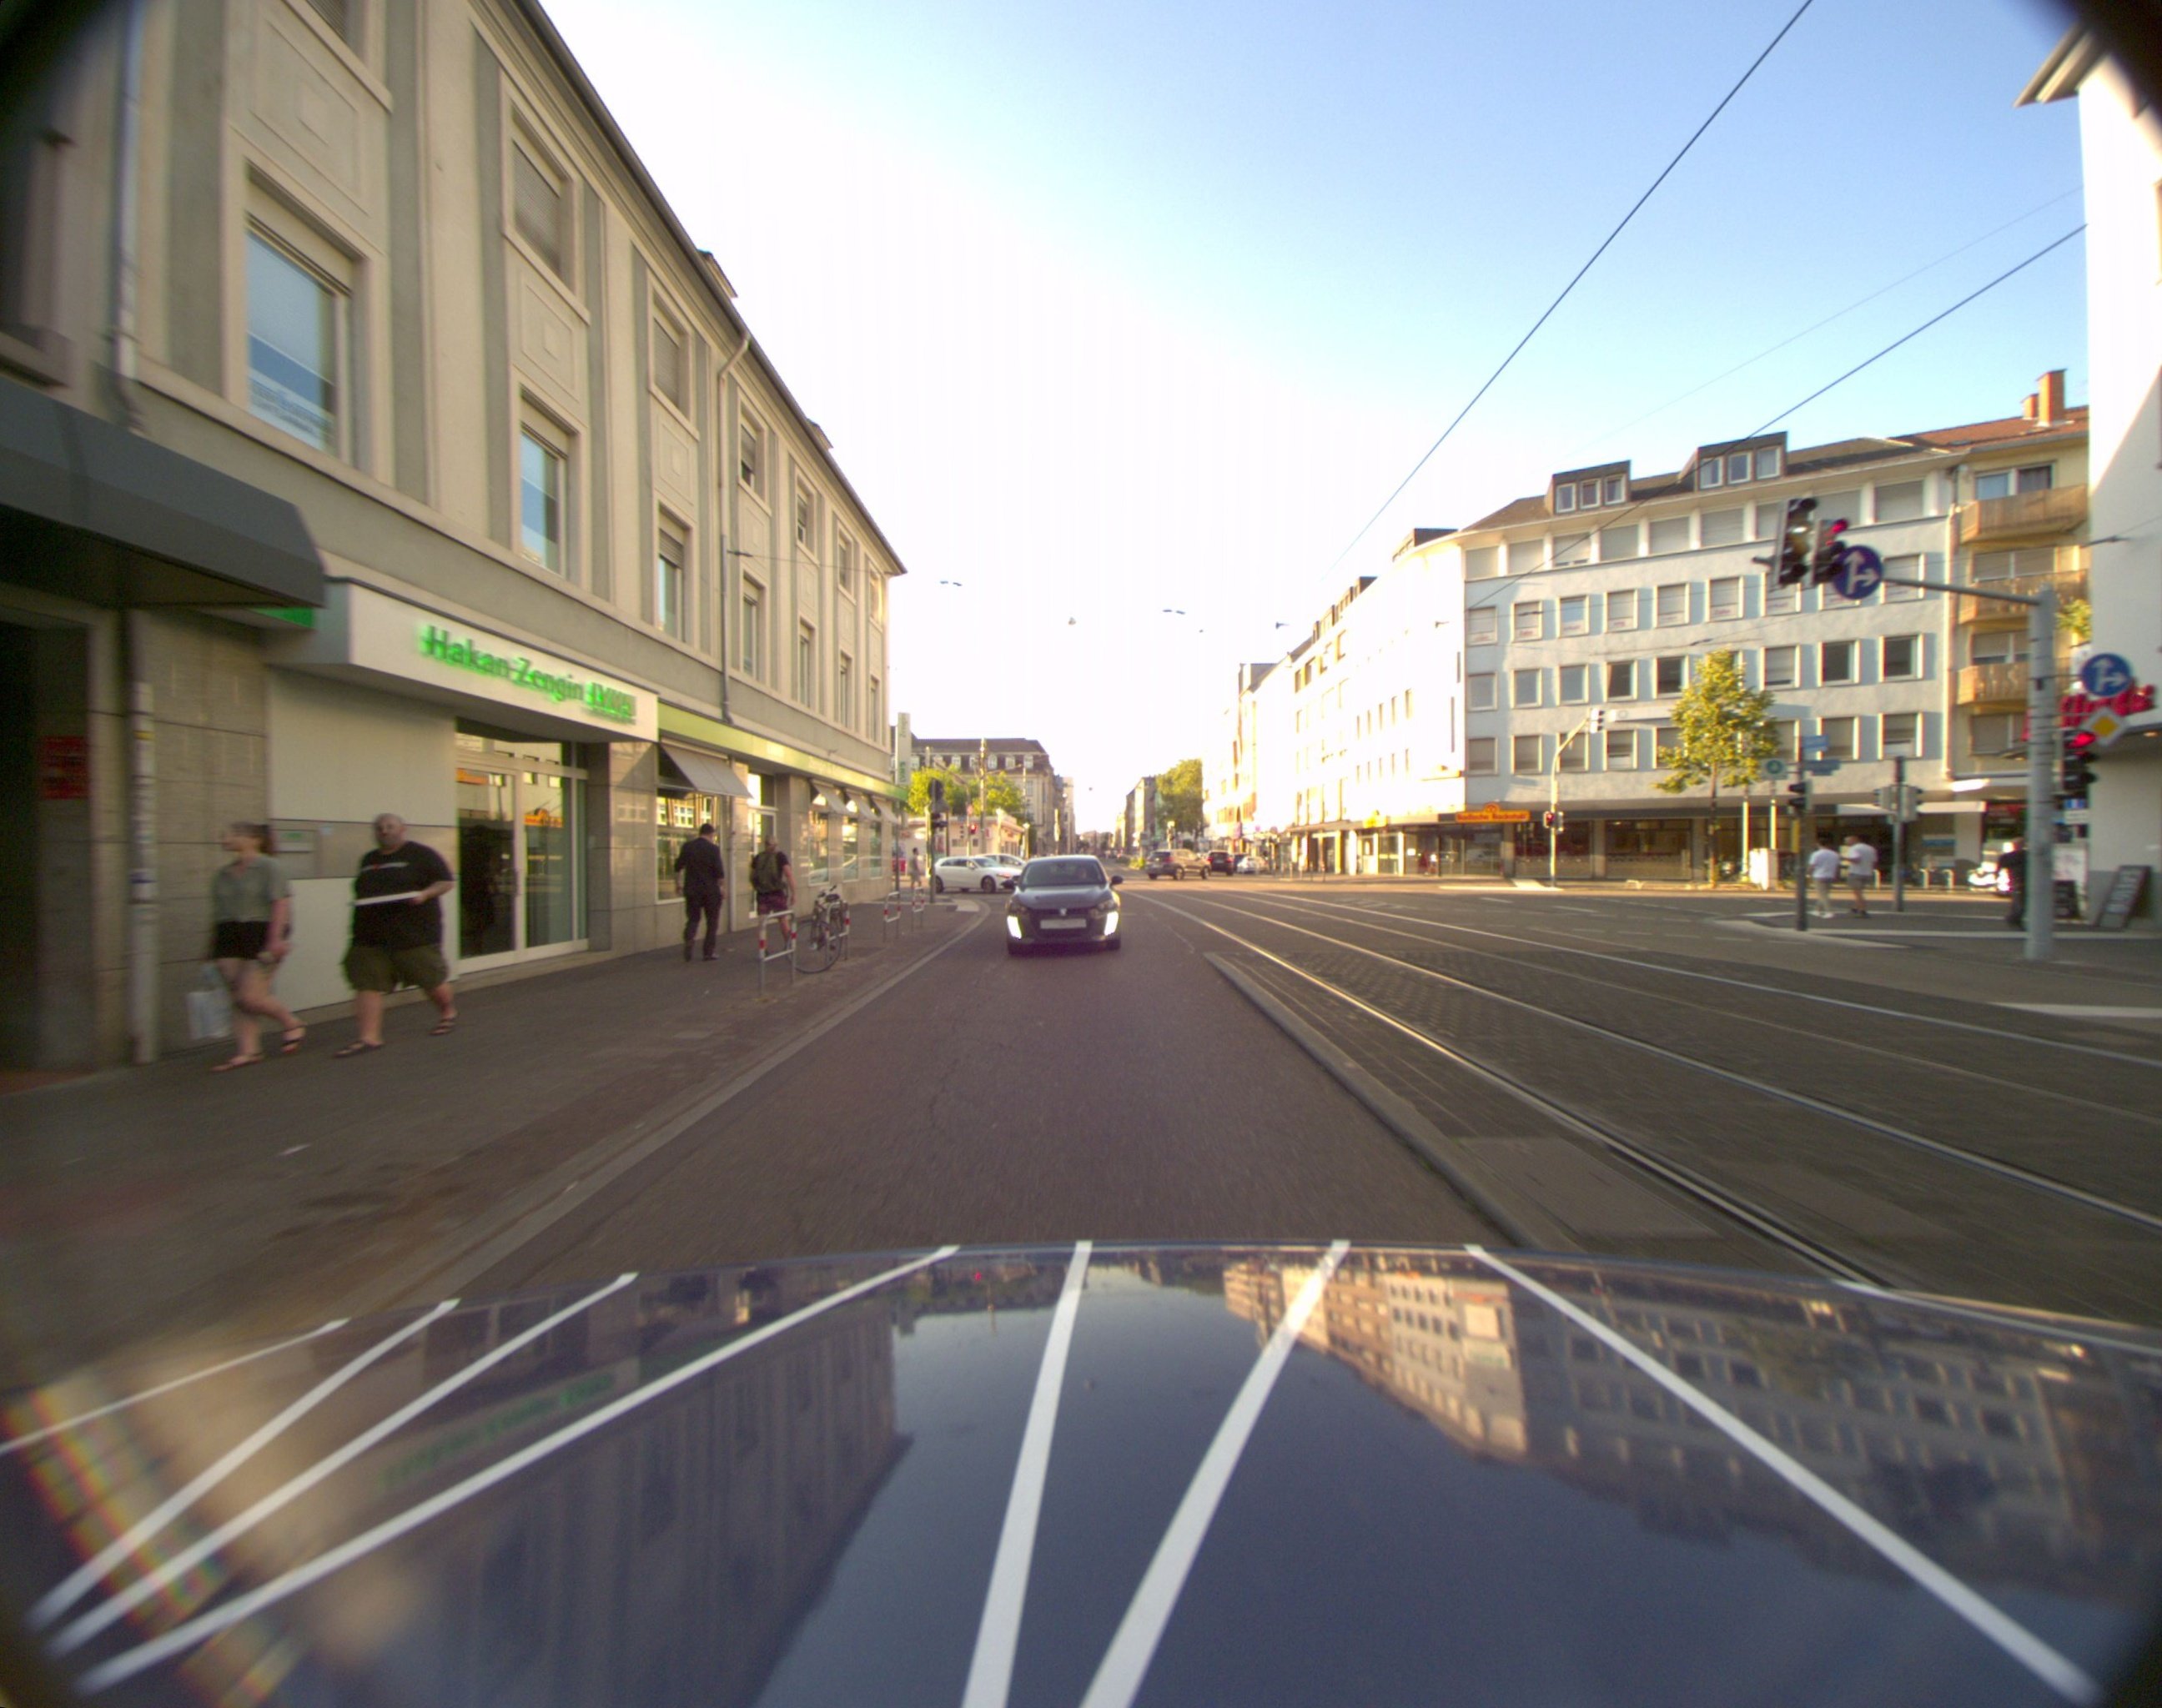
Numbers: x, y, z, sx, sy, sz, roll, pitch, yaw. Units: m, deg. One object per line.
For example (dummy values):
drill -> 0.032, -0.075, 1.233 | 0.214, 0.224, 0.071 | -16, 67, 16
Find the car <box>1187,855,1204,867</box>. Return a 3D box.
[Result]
car -> 13.187, 0.781, 87.844 | 1.459, 1.284, 3.147 | -3, 0, 1

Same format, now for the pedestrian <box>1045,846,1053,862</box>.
pedestrian -> -4.097, 0.021, 96.570 | 0.716, 2.003, 0.839 | -3, 4, -27

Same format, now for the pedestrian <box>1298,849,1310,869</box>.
pedestrian -> 16.542, 0.391, 56.312 | 0.544, 1.463, 0.624 | -4, 1, -15

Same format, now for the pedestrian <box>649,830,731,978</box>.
pedestrian -> -5.306, 0.651, 10.355 | 0.663, 1.917, 0.879 | 1, 1, -1

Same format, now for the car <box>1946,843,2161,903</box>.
car -> 27.291, 0.496, 20.958 | 4.002, 1.547, 2.119 | 0, 0, 25

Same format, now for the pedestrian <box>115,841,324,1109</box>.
pedestrian -> -5.883, 0.777, 5.226 | 0.651, 1.708, 0.678 | 2, 1, 1

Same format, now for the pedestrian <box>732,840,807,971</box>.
pedestrian -> -4.480, 0.721, 10.988 | 0.739, 1.818, 0.850 | 1, 1, -1

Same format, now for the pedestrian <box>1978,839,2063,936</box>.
pedestrian -> 16.728, 0.573, 13.550 | 0.712, 1.667, 0.704 | 0, 1, 25

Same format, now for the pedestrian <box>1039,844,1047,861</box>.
pedestrian -> -4.663, -0.139, 93.130 | 0.716, 2.003, 0.839 | -3, 4, -29

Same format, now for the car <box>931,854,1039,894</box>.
car -> -3.817, 0.739, 29.962 | 3.973, 1.463, 1.832 | 0, 1, 35

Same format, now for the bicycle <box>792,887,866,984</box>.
bicycle -> -3.361, 1.058, 10.253 | 0.535, 1.140, 1.490 | 0, 1, -1

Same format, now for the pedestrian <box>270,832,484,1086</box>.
pedestrian -> -5.361, 0.743, 5.854 | 0.768, 1.795, 0.928 | 1, 1, 2

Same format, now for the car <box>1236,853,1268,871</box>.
car -> 12.868, 0.617, 57.198 | 1.636, 1.246, 3.389 | -3, 0, 1

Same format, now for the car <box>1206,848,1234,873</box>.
car -> 9.543, 0.410, 51.975 | 1.803, 1.688, 4.572 | 0, 0, 11

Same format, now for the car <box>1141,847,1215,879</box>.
car -> 5.428, 0.456, 42.107 | 4.268, 1.688, 1.823 | -1, 1, -45

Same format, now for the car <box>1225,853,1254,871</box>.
car -> 12.841, 0.644, 61.806 | 1.636, 1.345, 3.389 | -3, 0, 1

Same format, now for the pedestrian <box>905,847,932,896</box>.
pedestrian -> -5.867, 0.627, 27.386 | 0.692, 1.732, 0.655 | 0, 1, 22

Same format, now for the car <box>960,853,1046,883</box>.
car -> -3.795, 0.678, 37.567 | 3.981, 1.463, 1.720 | 0, 1, 3

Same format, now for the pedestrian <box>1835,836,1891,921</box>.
pedestrian -> 16.775, 0.512, 16.305 | 0.637, 1.768, 0.601 | 0, 1, 20

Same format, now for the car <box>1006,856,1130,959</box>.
car -> -0.072, 0.799, 13.179 | 1.750, 1.434, 3.906 | -2, 1, 5

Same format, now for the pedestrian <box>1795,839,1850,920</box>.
pedestrian -> 16.138, 0.541, 16.547 | 0.637, 1.734, 0.670 | 0, 1, 20

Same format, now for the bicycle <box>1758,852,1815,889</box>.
bicycle -> 26.240, 0.573, 28.307 | 0.638, 1.246, 2.377 | 0, 2, 20
